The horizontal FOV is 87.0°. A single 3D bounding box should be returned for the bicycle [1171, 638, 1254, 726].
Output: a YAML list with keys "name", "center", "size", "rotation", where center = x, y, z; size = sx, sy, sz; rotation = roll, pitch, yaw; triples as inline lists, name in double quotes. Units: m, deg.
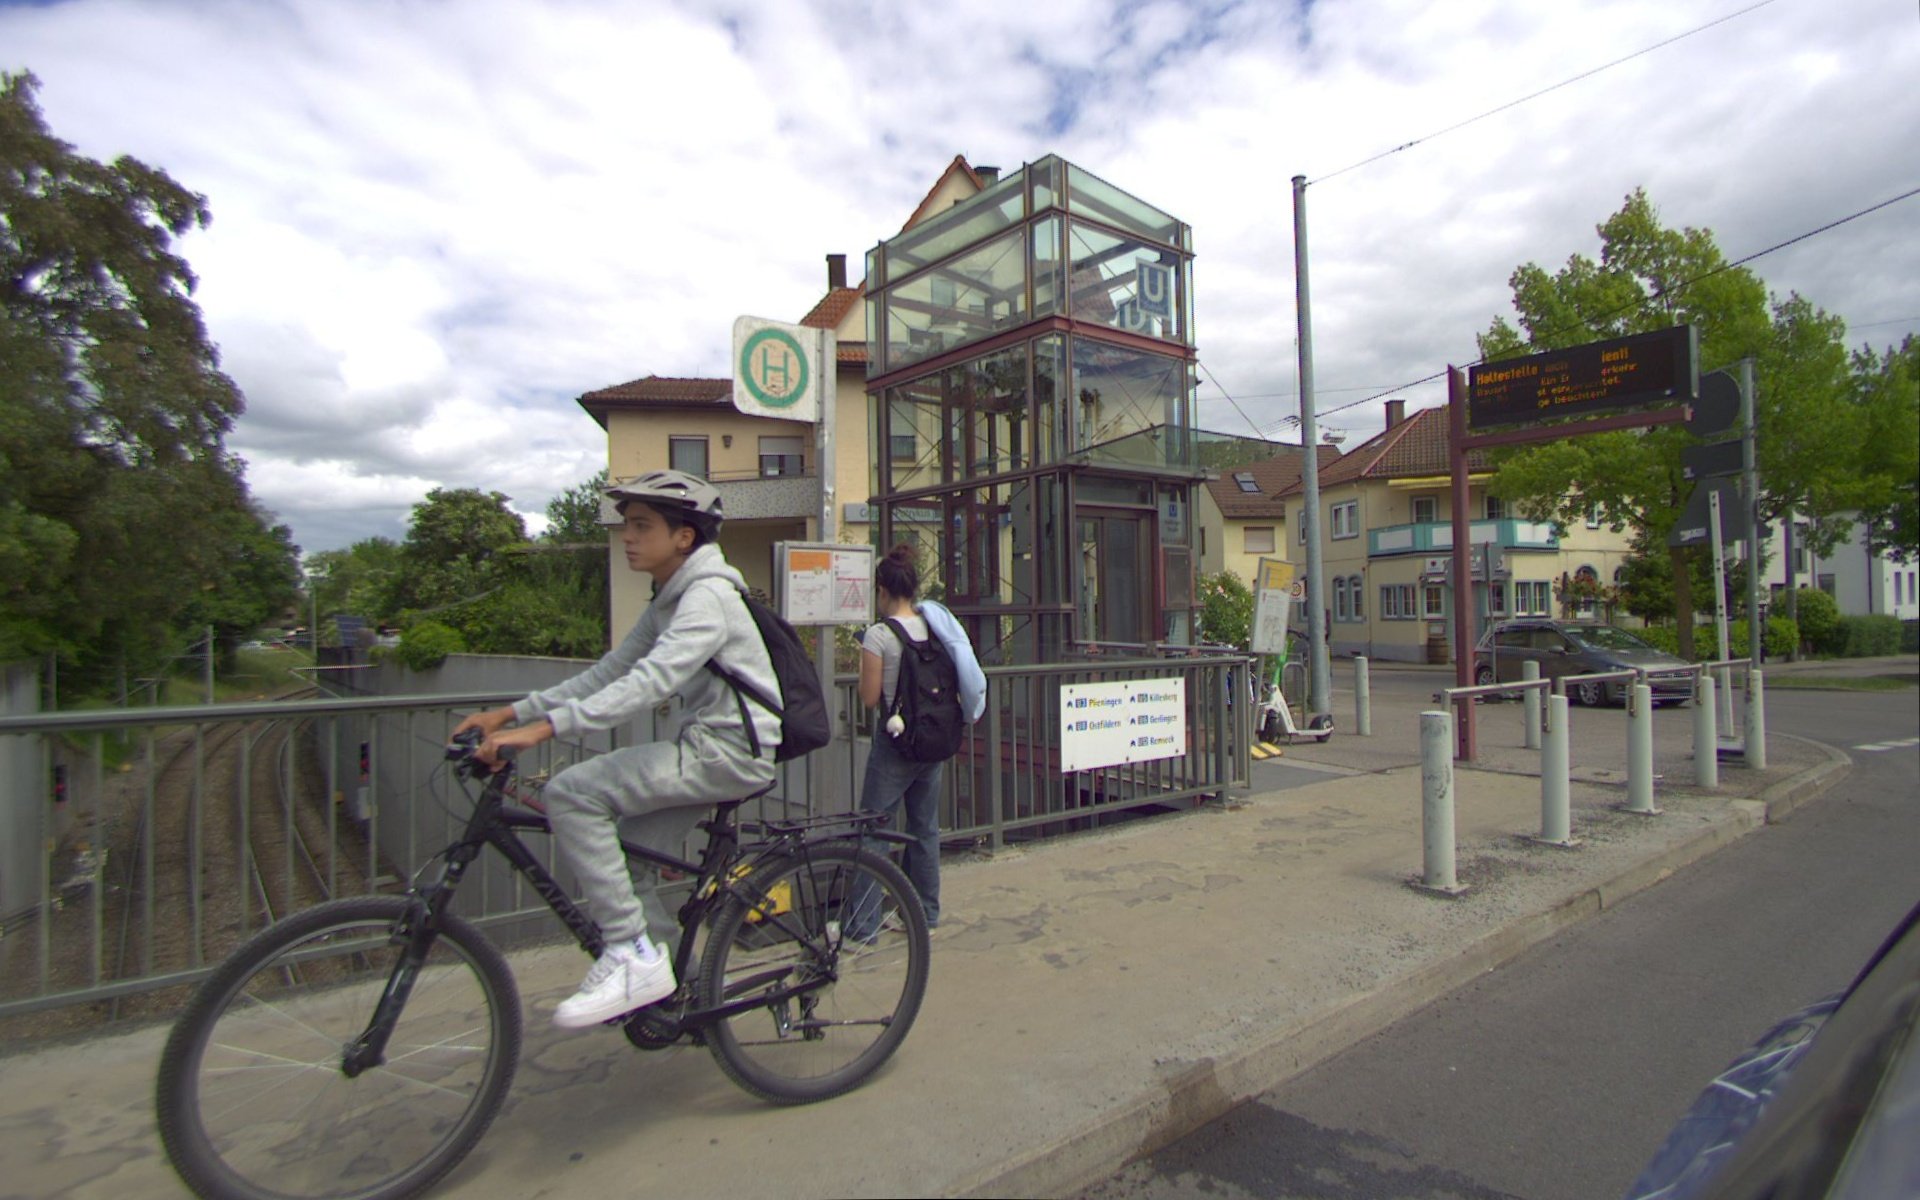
- name: "bicycle"
  center: [3.131, 0.997, 12.522]
  size: [1.165, 1.021, 0.216]
  rotation: [0, -1, -29]

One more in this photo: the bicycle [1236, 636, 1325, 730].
- name: "bicycle"
  center: [3.667, 0.928, 11.544]
  size: [1.180, 1.001, 0.216]
  rotation: [0, -1, -29]

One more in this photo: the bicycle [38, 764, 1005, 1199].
- name: "bicycle"
  center: [-0.856, 0.913, 2.473]
  size: [2.025, 0.763, 0.637]
  rotation: [1, -2, -39]

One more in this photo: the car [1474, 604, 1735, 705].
- name: "car"
  center: [11.744, 0.981, 18.824]
  size: [1.831, 1.646, 4.004]
  rotation: [0, -2, -9]

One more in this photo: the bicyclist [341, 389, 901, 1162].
- name: "bicyclist"
  center: [-0.808, 0.330, 2.513]
  size: [1.157, 1.434, 0.657]
  rotation: [1, -2, -39]

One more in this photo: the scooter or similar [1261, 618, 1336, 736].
- name: "scooter or similar"
  center: [3.382, 0.763, 10.091]
  size: [0.929, 1.126, 0.216]
  rotation: [4, -3, -38]

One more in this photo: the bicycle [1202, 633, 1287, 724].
- name: "bicycle"
  center: [3.385, 0.915, 12.016]
  size: [1.145, 1.026, 0.216]
  rotation: [0, -1, -29]

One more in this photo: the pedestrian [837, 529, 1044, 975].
- name: "pedestrian"
  center: [-0.095, 0.562, 4.013]
  size: [0.394, 1.603, 0.599]
  rotation: [-2, -6, -39]

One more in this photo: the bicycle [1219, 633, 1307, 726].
- name: "bicycle"
  center: [3.535, 0.911, 11.795]
  size: [1.182, 1.014, 0.216]
  rotation: [0, -1, -29]

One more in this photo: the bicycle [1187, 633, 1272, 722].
- name: "bicycle"
  center: [3.270, 0.921, 12.258]
  size: [1.165, 1.021, 0.216]
  rotation: [0, -1, -29]

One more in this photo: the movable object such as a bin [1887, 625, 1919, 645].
- name: "movable object such as a bin"
  center: [47.166, 1.729, 50.504]
  size: [0.806, 0.953, 1.123]
  rotation: [0, -2, -32]

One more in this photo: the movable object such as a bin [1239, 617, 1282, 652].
- name: "movable object such as a bin"
  center: [13.228, 1.529, 44.569]
  size: [1.385, 1.510, 1.307]
  rotation: [0, -2, -6]
